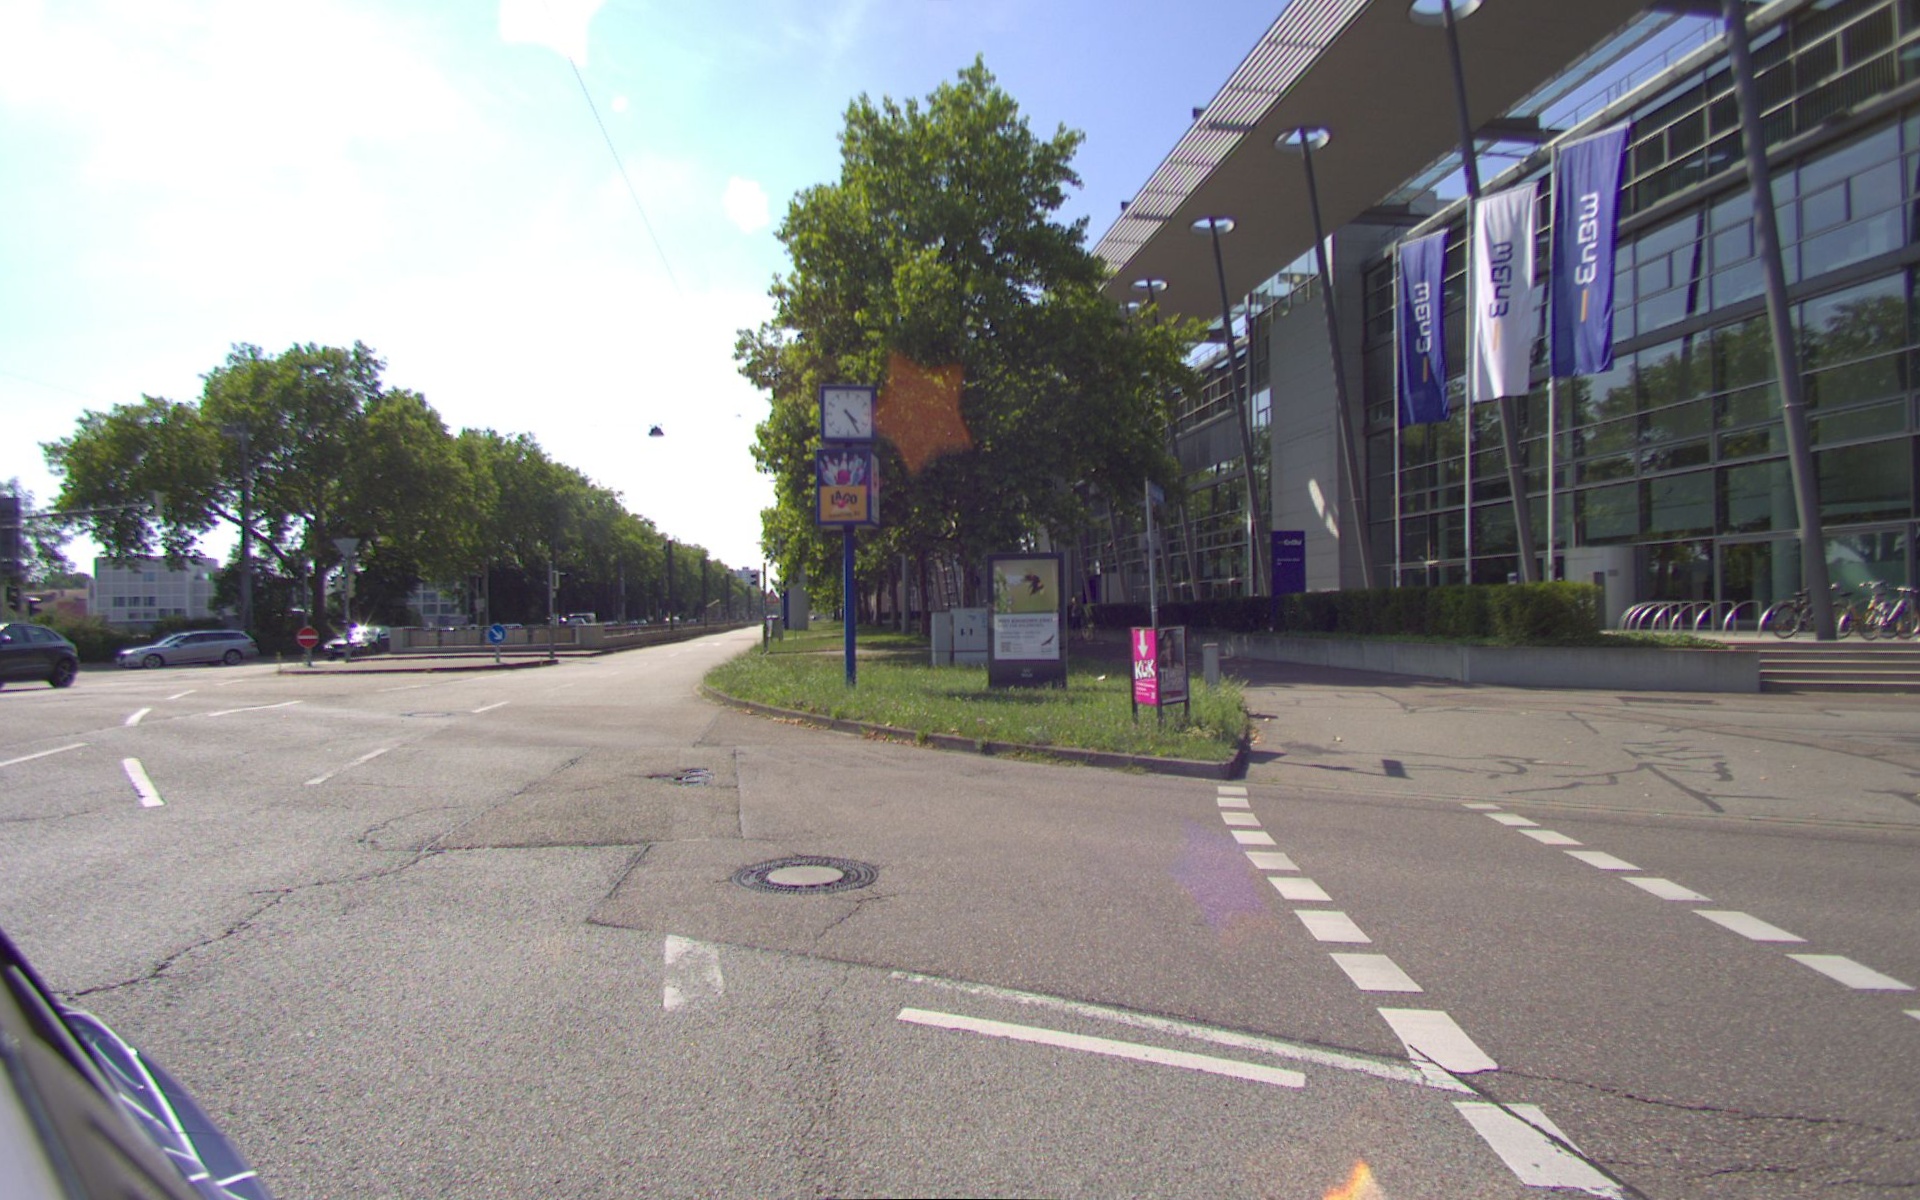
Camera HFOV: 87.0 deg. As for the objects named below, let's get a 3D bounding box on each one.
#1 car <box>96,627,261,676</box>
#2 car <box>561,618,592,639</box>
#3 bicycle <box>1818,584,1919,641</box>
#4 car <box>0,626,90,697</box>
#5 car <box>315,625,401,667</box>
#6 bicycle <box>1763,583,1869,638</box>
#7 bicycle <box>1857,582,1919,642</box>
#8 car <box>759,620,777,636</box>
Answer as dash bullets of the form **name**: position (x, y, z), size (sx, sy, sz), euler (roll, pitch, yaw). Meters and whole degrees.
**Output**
- **car**: position (-32.652, 2.106, 42.479), size (1.990, 1.737, 5.118), euler (-4, -1, 26)
- **car**: position (-37.412, 2.790, 98.892), size (1.844, 1.951, 4.005), euler (-1, -1, -6)
- **bicycle**: position (18.461, 0.248, 20.431), size (1.855, 1.119, 0.741), euler (-1, -1, -12)
- **car**: position (-22.470, 1.413, 23.131), size (1.801, 1.561, 4.569), euler (-1, -1, -9)
- **car**: position (-25.727, 1.942, 43.420), size (1.790, 1.626, 4.007), euler (-2, -1, -9)
- **bicycle**: position (18.018, 0.223, 21.316), size (1.770, 1.119, 0.741), euler (-1, -1, -12)
- **bicycle**: position (18.516, 0.228, 19.622), size (1.770, 1.119, 0.741), euler (-1, -1, -12)
- **car**: position (-21.354, 3.178, 112.858), size (1.873, 1.652, 4.008), euler (-3, -1, -10)
